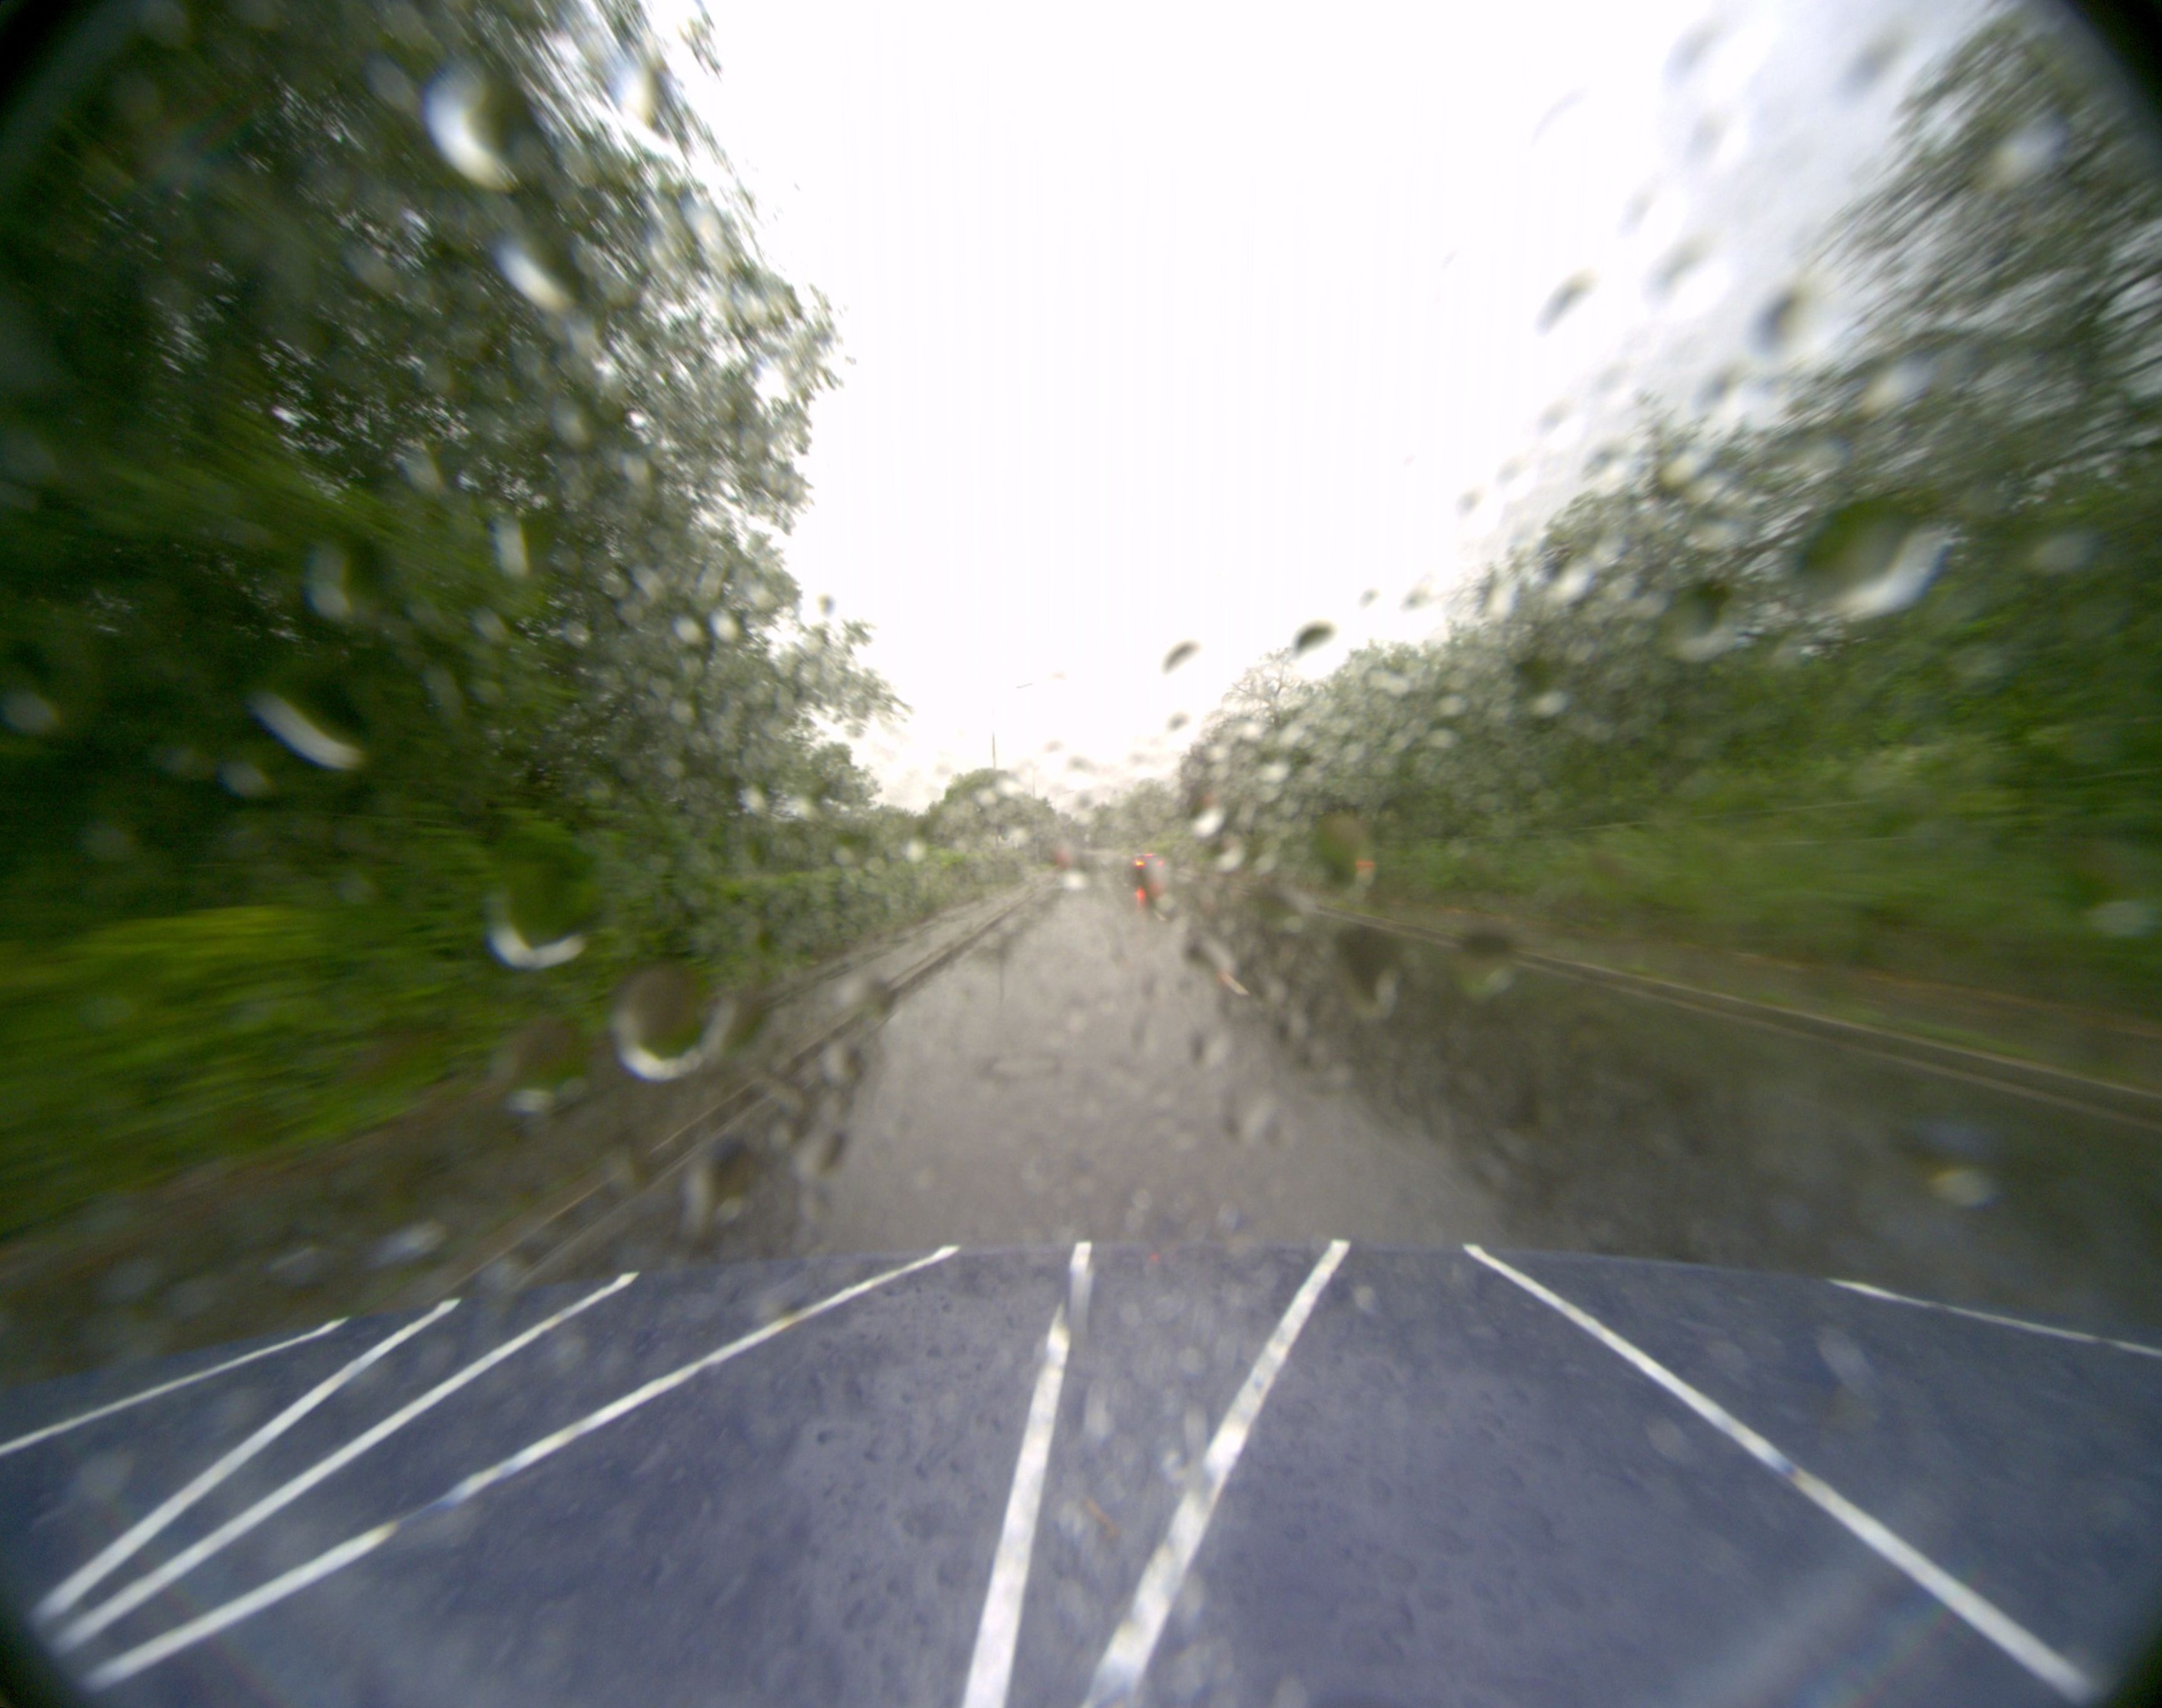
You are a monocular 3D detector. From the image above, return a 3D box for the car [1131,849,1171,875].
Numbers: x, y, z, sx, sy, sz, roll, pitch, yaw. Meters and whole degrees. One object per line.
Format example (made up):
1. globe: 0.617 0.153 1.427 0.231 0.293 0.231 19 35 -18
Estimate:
1. car: 4.150 0.455 45.624 1.998 1.445 4.428 -2 0 1
